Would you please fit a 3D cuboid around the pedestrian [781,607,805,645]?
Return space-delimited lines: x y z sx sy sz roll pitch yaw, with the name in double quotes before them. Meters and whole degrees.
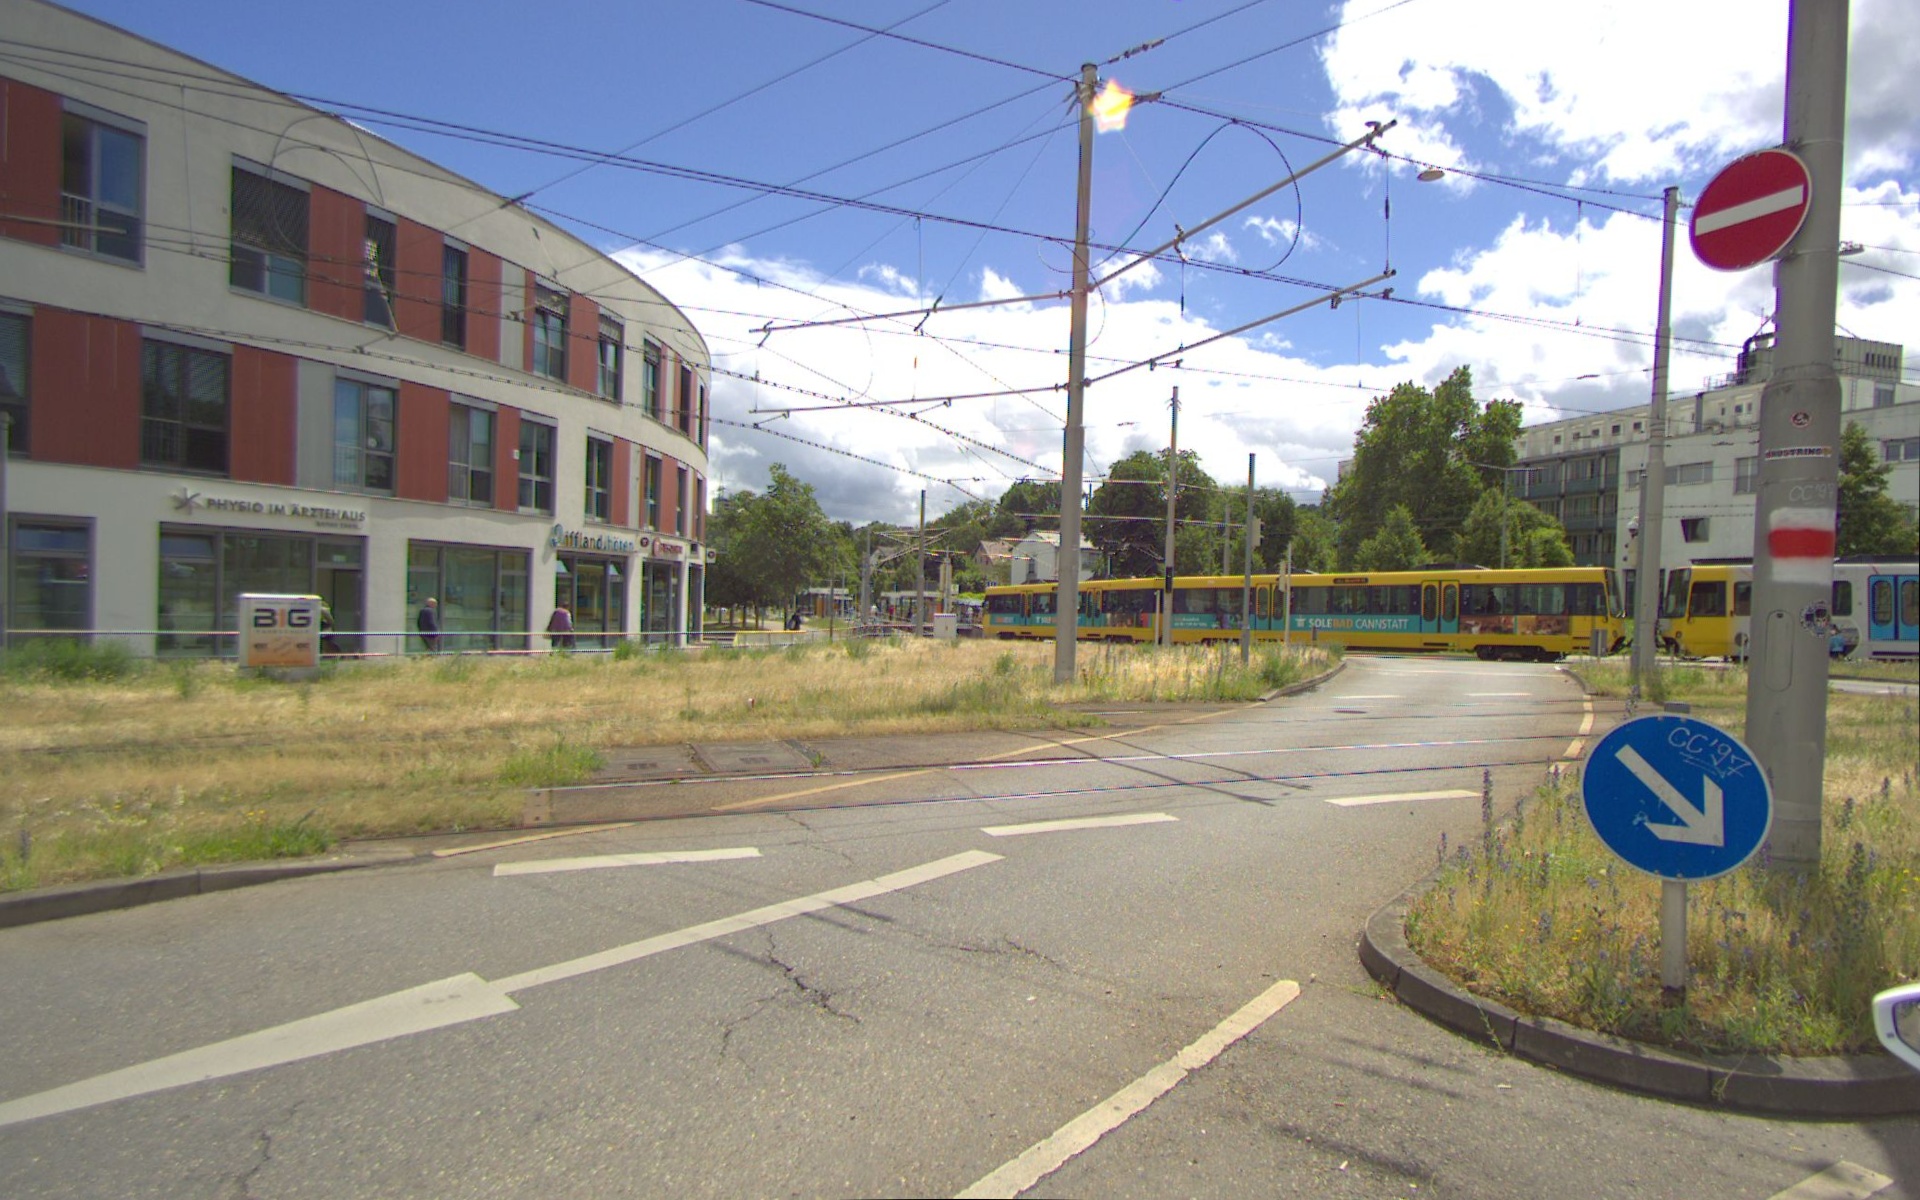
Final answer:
"pedestrian" -7.469 1.164 44.959 0.847 1.646 0.733 1 -1 7

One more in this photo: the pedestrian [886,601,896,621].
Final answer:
"pedestrian" -7.174 1.125 104.097 0.807 2.040 0.771 2 -1 -15

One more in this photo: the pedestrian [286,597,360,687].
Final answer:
"pedestrian" -14.613 0.948 23.070 0.849 1.994 1.114 1 -1 29

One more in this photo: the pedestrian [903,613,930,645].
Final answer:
"pedestrian" -2.287 1.512 52.897 0.971 1.646 1.030 0 -2 44

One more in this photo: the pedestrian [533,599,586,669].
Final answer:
"pedestrian" -11.722 1.002 29.395 0.849 1.994 1.104 1 -1 30

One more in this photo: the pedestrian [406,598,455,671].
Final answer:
"pedestrian" -11.924 0.765 22.640 0.722 1.601 0.690 1 0 29

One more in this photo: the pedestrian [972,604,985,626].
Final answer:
"pedestrian" 1.476 1.227 81.047 0.824 1.755 0.795 1 0 -16

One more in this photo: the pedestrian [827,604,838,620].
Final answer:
"pedestrian" -16.947 1.599 133.669 1.241 2.040 1.121 2 -1 -19

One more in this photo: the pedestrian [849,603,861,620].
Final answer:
"pedestrian" -12.742 1.381 121.990 1.241 2.040 1.121 2 -1 -19

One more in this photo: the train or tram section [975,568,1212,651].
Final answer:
"train or tram section" 6.801 0.647 57.878 3.713 3.970 18.771 2 -2 -26

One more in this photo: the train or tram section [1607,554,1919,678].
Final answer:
"train or tram section" 33.367 0.597 32.760 20.229 3.930 3.762 1 -1 20

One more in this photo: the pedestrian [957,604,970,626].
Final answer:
"pedestrian" 0.303 1.207 81.757 0.824 1.777 0.795 1 0 -16

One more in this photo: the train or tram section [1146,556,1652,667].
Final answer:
"train or tram section" 17.446 0.479 43.105 19.870 3.880 3.740 0 -2 44

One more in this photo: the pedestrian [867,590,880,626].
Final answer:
"pedestrian" -14.945 1.384 173.212 1.964 5.998 2.368 2 -1 -9

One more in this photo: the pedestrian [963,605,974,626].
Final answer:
"pedestrian" 0.722 1.273 82.489 0.744 1.707 0.671 1 0 -16
